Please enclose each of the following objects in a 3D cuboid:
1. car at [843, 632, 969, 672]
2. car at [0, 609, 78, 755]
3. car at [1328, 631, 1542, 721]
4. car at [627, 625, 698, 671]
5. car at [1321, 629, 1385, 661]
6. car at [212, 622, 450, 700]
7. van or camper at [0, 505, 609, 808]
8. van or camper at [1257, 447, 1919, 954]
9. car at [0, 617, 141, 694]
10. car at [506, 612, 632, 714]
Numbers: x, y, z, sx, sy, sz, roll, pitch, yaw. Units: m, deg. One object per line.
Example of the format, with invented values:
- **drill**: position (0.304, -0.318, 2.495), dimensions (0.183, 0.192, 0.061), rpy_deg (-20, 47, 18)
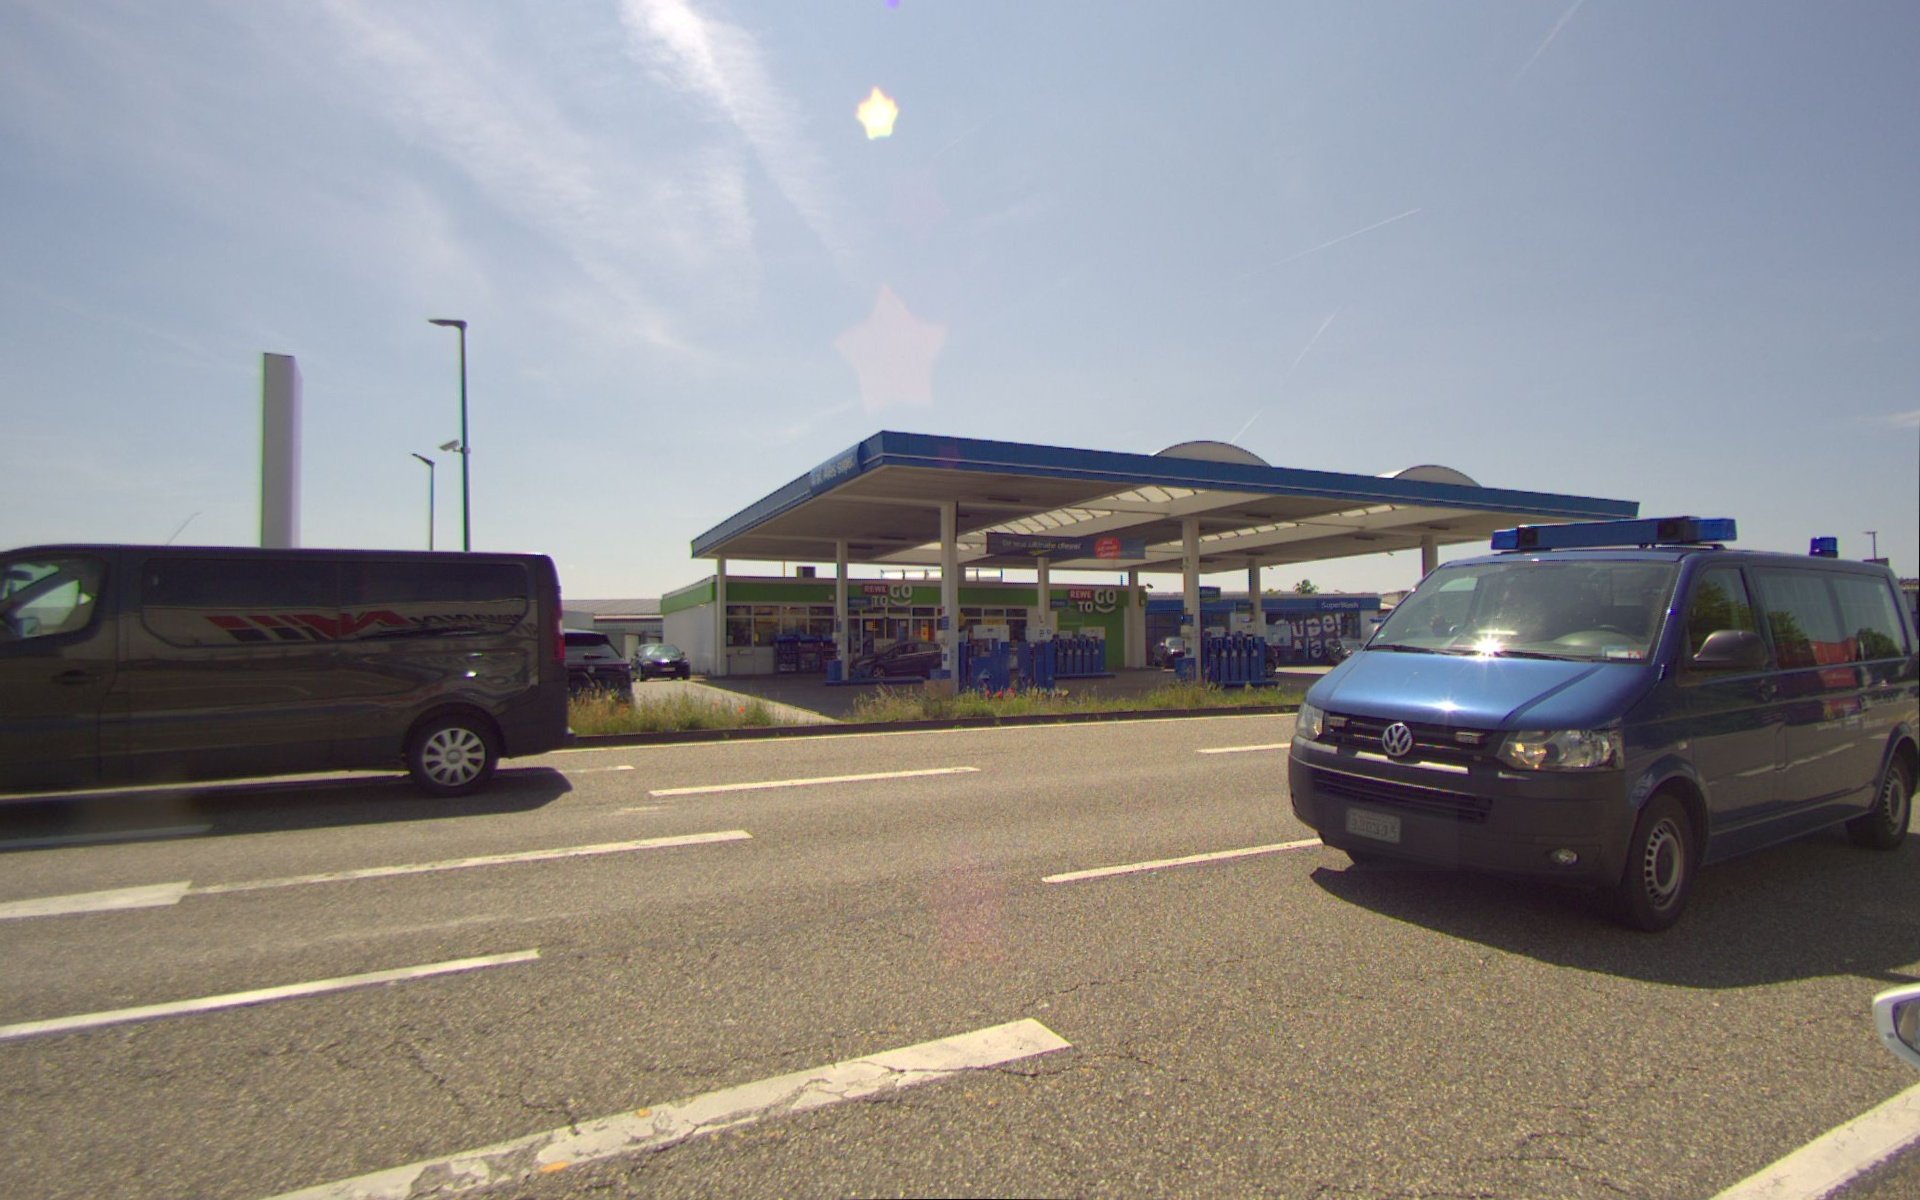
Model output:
- **car**: position (-2.032, 1.922, 37.739), dimensions (4.323, 1.396, 1.988), rpy_deg (1, -2, -25)
- **car**: position (-11.647, 0.861, 11.351), dimensions (3.937, 1.505, 1.813), rpy_deg (-1, -2, 38)
- **car**: position (10.169, 1.551, 21.442), dimensions (4.511, 1.741, 1.822), rpy_deg (1, -2, -28)
- **car**: position (-11.571, 1.822, 38.900), dimensions (1.924, 1.661, 3.972), rpy_deg (1, -2, -27)
- **car**: position (20.623, 2.332, 52.925), dimensions (1.908, 1.628, 4.001), rpy_deg (0, -2, 2)
- **car**: position (-12.710, 1.200, 20.543), dimensions (3.955, 1.460, 1.697), rpy_deg (1, -1, -32)
- **van or camper**: position (-5.710, 0.405, 7.913), dimensions (5.317, 1.961, 1.985), rpy_deg (1, -2, -29)
- **van or camper**: position (4.431, 0.489, 6.517), dimensions (5.285, 2.166, 1.826), rpy_deg (1, -1, -33)
- **car**: position (-18.480, 1.057, 20.315), dimensions (3.934, 1.416, 1.994), rpy_deg (-1, -2, 35)
- **car**: position (-8.360, 1.253, 21.272), dimensions (1.976, 1.929, 3.970), rpy_deg (1, -2, -29)
